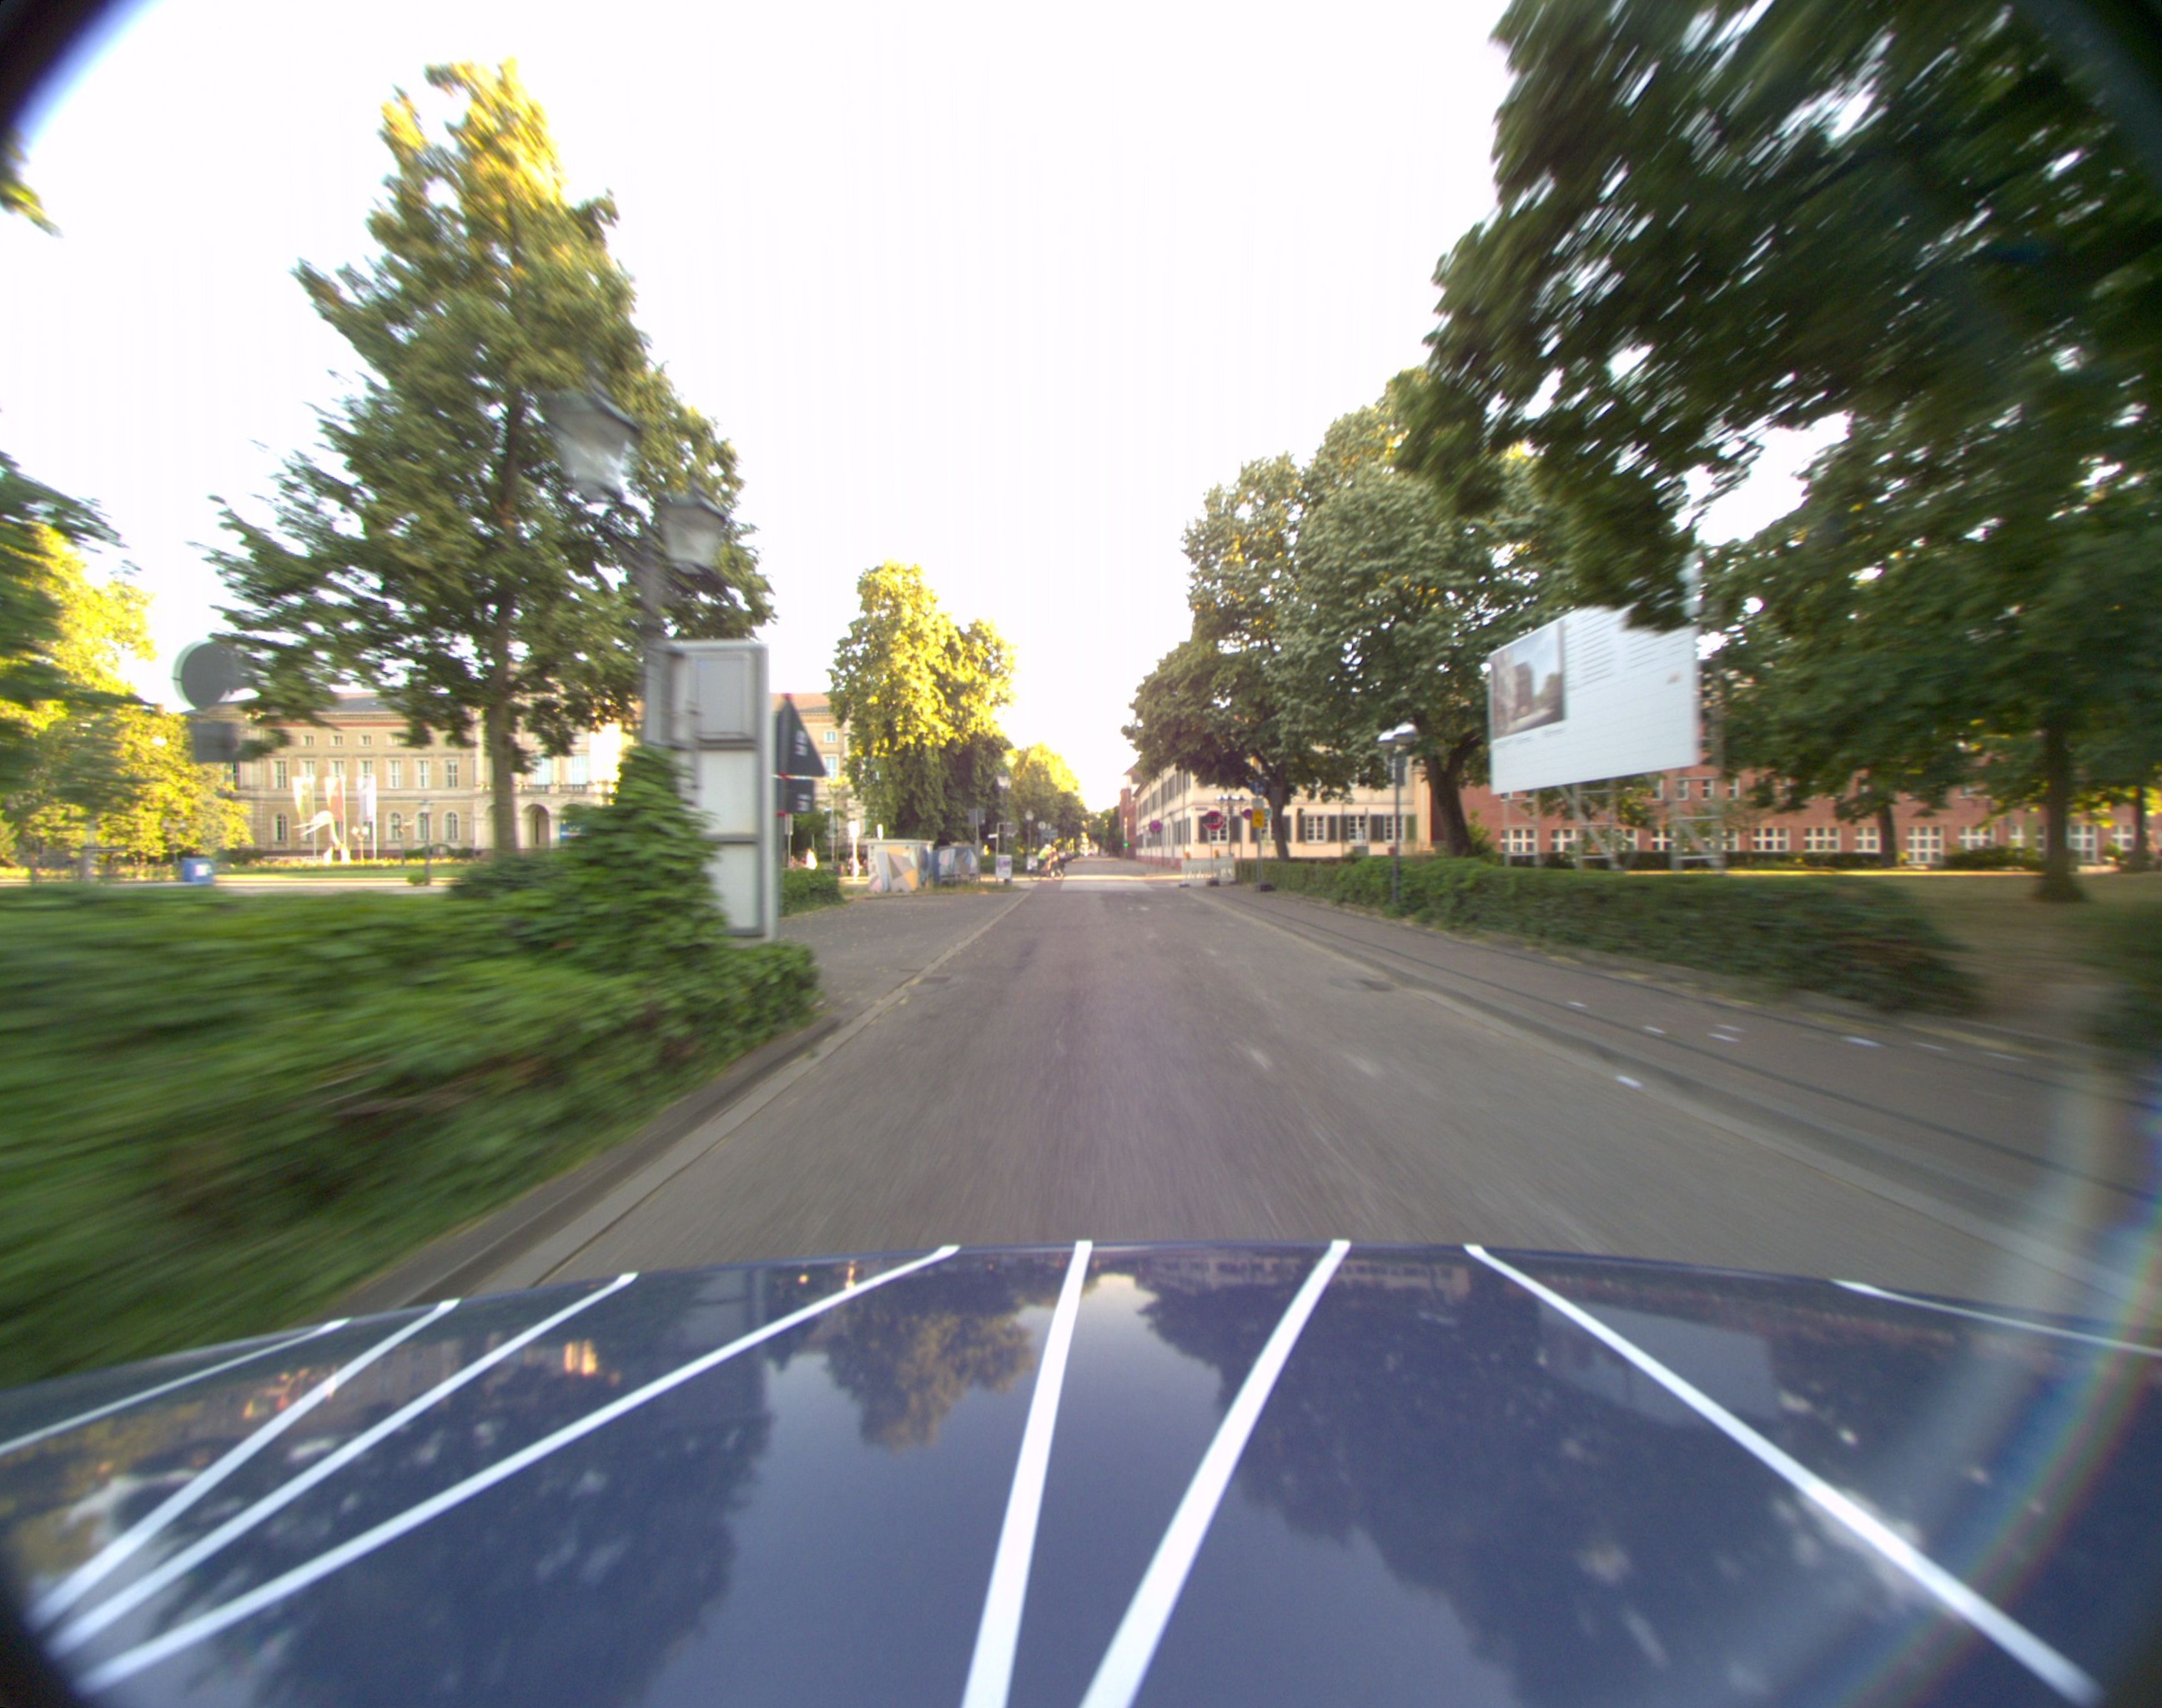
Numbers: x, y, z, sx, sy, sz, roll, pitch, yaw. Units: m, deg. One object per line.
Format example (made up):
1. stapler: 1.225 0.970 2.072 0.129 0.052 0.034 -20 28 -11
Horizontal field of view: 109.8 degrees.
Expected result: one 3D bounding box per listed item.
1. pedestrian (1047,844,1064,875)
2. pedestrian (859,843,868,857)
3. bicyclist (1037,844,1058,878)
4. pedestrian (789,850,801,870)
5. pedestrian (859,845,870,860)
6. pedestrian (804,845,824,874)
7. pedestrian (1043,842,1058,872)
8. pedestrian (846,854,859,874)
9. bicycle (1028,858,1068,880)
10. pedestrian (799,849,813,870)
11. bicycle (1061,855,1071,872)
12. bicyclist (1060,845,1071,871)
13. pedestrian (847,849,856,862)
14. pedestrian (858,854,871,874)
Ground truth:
1. pedestrian: -1.435 0.298 43.111 0.941 1.777 0.762 0 1 -2
2. pedestrian: -18.912 -0.356 66.156 0.605 1.195 0.394 -1 1 -40
3. bicyclist: -1.602 0.323 36.317 0.968 1.611 0.594 0 1 -2
4. pedestrian: -16.954 0.350 44.988 0.500 1.207 0.592 -1 1 -5
5. pedestrian: -20.848 -0.117 73.110 0.754 1.435 0.816 -1 1 -34
6. pedestrian: -15.251 0.304 43.402 0.859 1.617 0.757 0 1 -5
7. pedestrian: -1.751 0.194 44.025 0.859 1.730 0.649 0 1 -2
8. pedestrian: -13.570 0.581 45.131 0.528 1.197 0.970 -1 1 -5
9. bicycle: -1.573 0.714 36.328 1.900 1.033 0.581 0 1 -2
10. pedestrian: -16.314 0.333 45.072 0.608 1.207 0.666 -1 1 -5
11. bicycle: -1.082 0.657 53.260 0.653 1.175 2.344 0 1 -2
12. bicyclist: -1.085 0.259 53.227 0.672 1.793 1.060 -1 1 -2
13. pedestrian: -19.789 0.162 65.597 0.605 1.102 0.394 -1 1 -44
14. pedestrian: -12.896 0.594 45.318 0.608 1.197 0.666 -1 1 -5
